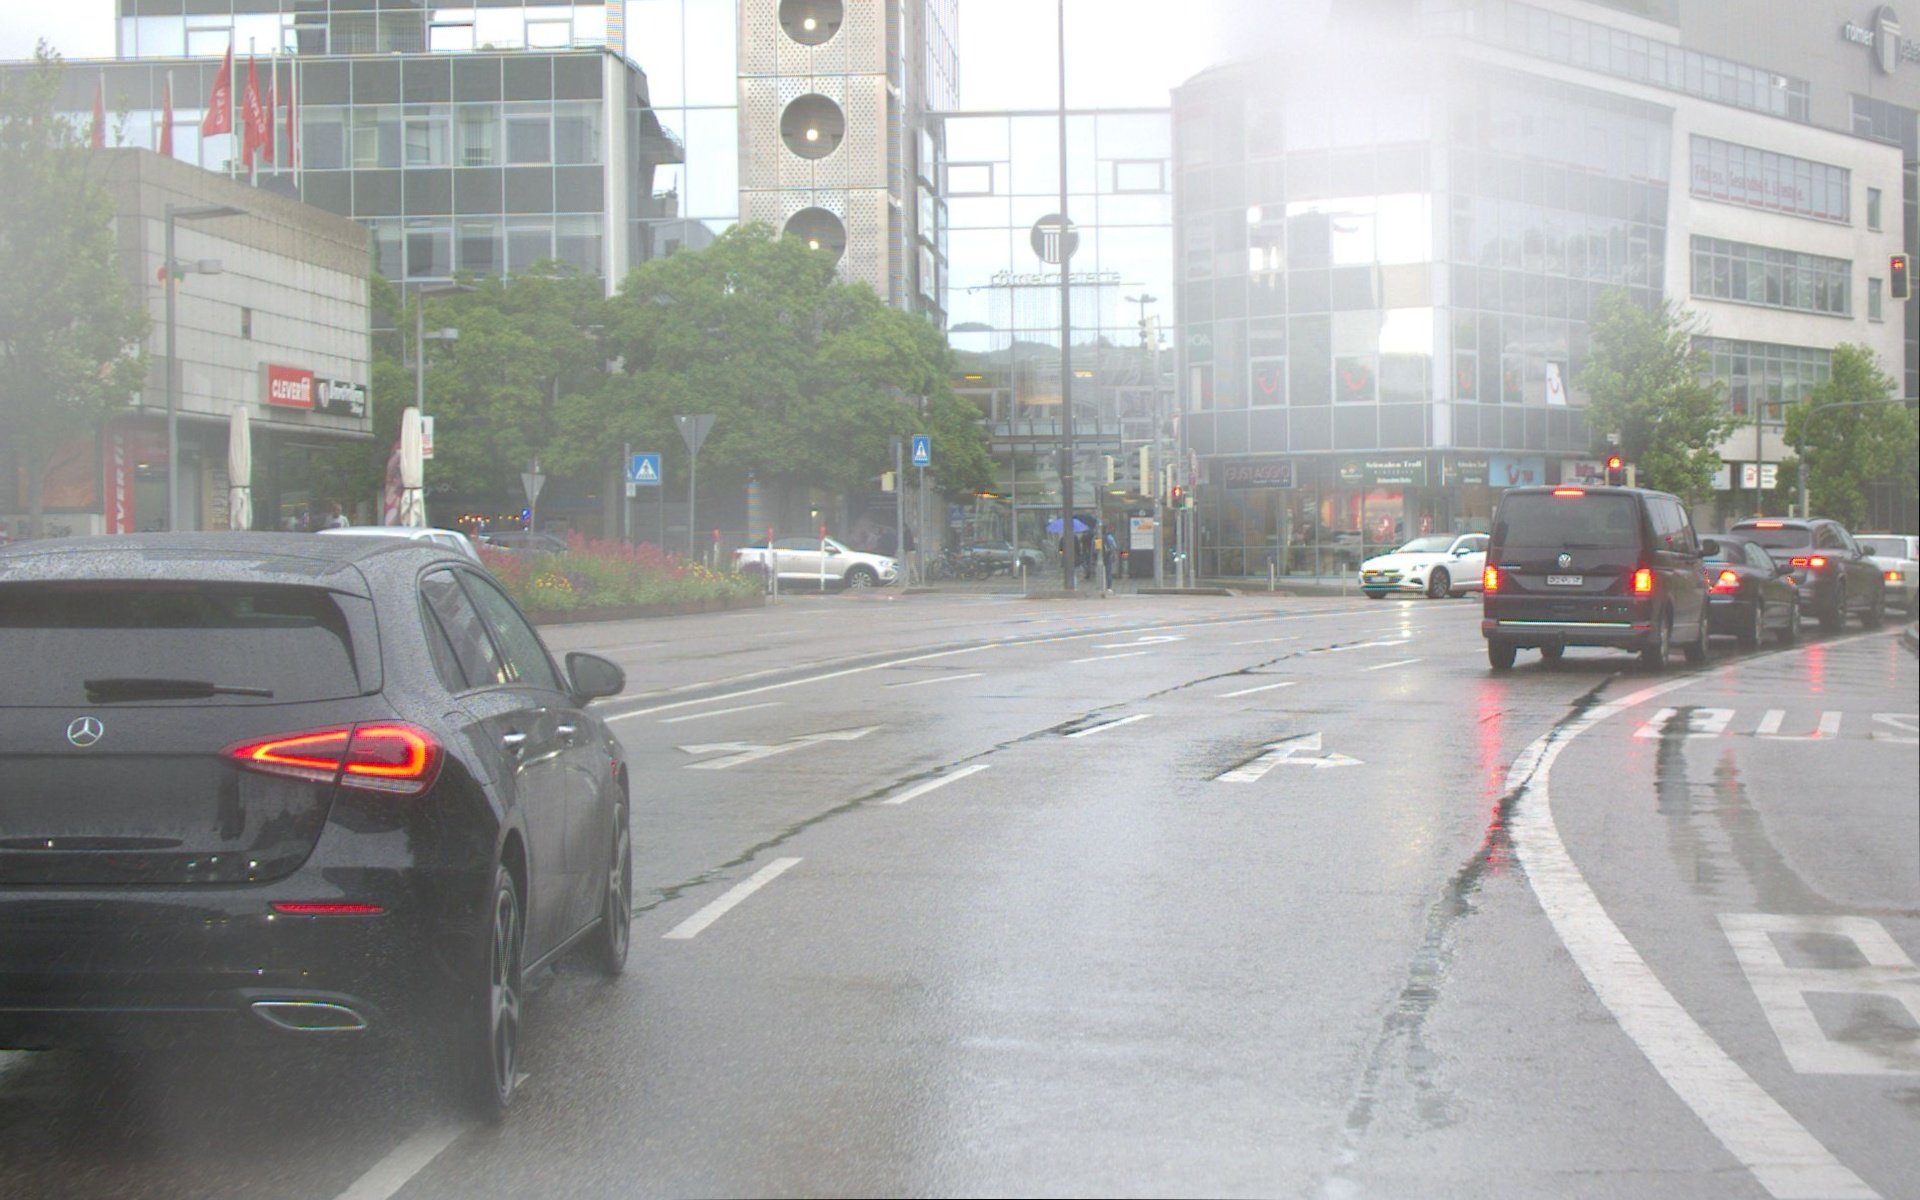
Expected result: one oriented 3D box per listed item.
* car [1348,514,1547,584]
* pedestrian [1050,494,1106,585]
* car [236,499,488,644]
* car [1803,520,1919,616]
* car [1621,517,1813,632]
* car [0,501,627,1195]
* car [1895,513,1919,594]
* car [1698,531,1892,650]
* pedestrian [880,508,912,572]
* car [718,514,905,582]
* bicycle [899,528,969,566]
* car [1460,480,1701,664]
[{"bbox_3d":[10.689,-1.140,75.147,1.847,1.455,4.796,2,2,44],"label":"car"},{"bbox_3d":[2.635,-1.348,76.804,1.162,2.007,1.328,0,1,-2],"label":"pedestrian"},{"bbox_3d":[-6.479,-0.345,37.640,1.700,1.461,4.103,-1,1,5],"label":"car"},{"bbox_3d":[15.210,-0.560,56.568,1.636,1.443,4.262,1,2,28],"label":"car"},{"bbox_3d":[9.800,-0.370,44.281,1.633,1.381,4.510,1,2,23],"label":"car"},{"bbox_3d":[-1.996,0.504,9.604,1.815,1.524,3.813,1,2,-1],"label":"car"},{"bbox_3d":[18.268,-0.886,62.171,1.914,1.395,3.453,0,3,27],"label":"car"},{"bbox_3d":[12.289,-0.179,50.424,1.904,1.615,4.330,1,2,26],"label":"car"},{"bbox_3d":[-2.011,-1.888,108.303,0.762,2.007,0.714,-1,2,-29],"label":"pedestrian"},{"bbox_3d":[-3.584,-1.260,83.318,4.194,1.590,1.869,1,1,11],"label":"car"},{"bbox_3d":[-0.855,-1.768,114.395,2.273,1.242,0.676,-1,1,4],"label":"bicycle"},{"bbox_3d":[6.869,-0.339,37.671,1.997,1.887,4.583,1,1,18],"label":"car"}]
